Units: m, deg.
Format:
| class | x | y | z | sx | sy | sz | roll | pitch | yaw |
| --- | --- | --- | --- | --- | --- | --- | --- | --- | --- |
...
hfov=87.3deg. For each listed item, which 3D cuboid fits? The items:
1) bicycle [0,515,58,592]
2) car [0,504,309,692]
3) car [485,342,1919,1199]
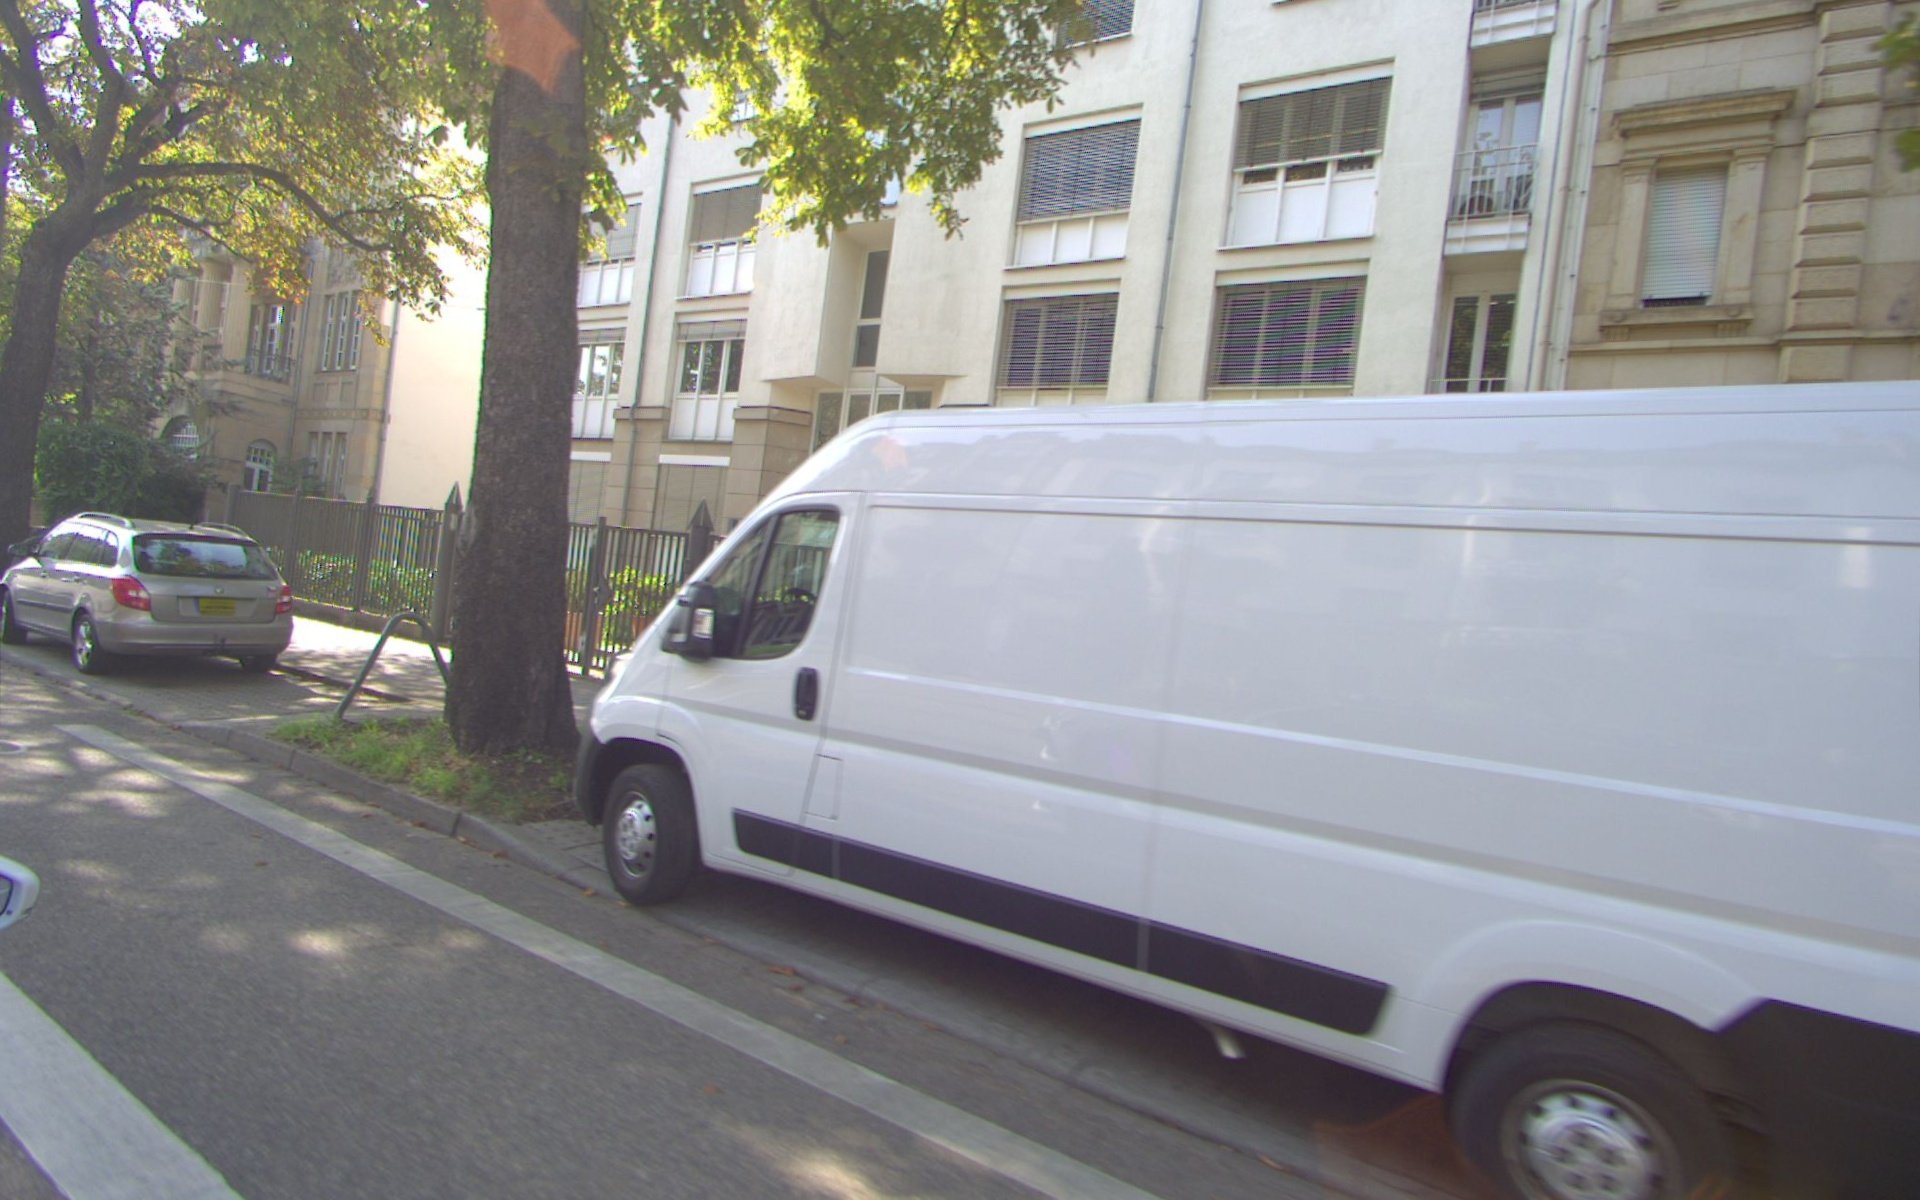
| class | x | y | z | sx | sy | sz | roll | pitch | yaw |
| --- | --- | --- | --- | --- | --- | --- | --- | --- | --- |
| bicycle | -14.978 | -0.725 | 15.592 | 0.495 | 1.182 | 1.839 | 1 | 2 | -7 |
| car | -9.013 | -0.117 | 10.921 | 4.286 | 1.544 | 1.606 | 7 | 2 | 33 |
| car | 0.668 | 0.475 | 4.621 | 6.127 | 2.529 | 2.047 | 7 | 0 | 33 |
